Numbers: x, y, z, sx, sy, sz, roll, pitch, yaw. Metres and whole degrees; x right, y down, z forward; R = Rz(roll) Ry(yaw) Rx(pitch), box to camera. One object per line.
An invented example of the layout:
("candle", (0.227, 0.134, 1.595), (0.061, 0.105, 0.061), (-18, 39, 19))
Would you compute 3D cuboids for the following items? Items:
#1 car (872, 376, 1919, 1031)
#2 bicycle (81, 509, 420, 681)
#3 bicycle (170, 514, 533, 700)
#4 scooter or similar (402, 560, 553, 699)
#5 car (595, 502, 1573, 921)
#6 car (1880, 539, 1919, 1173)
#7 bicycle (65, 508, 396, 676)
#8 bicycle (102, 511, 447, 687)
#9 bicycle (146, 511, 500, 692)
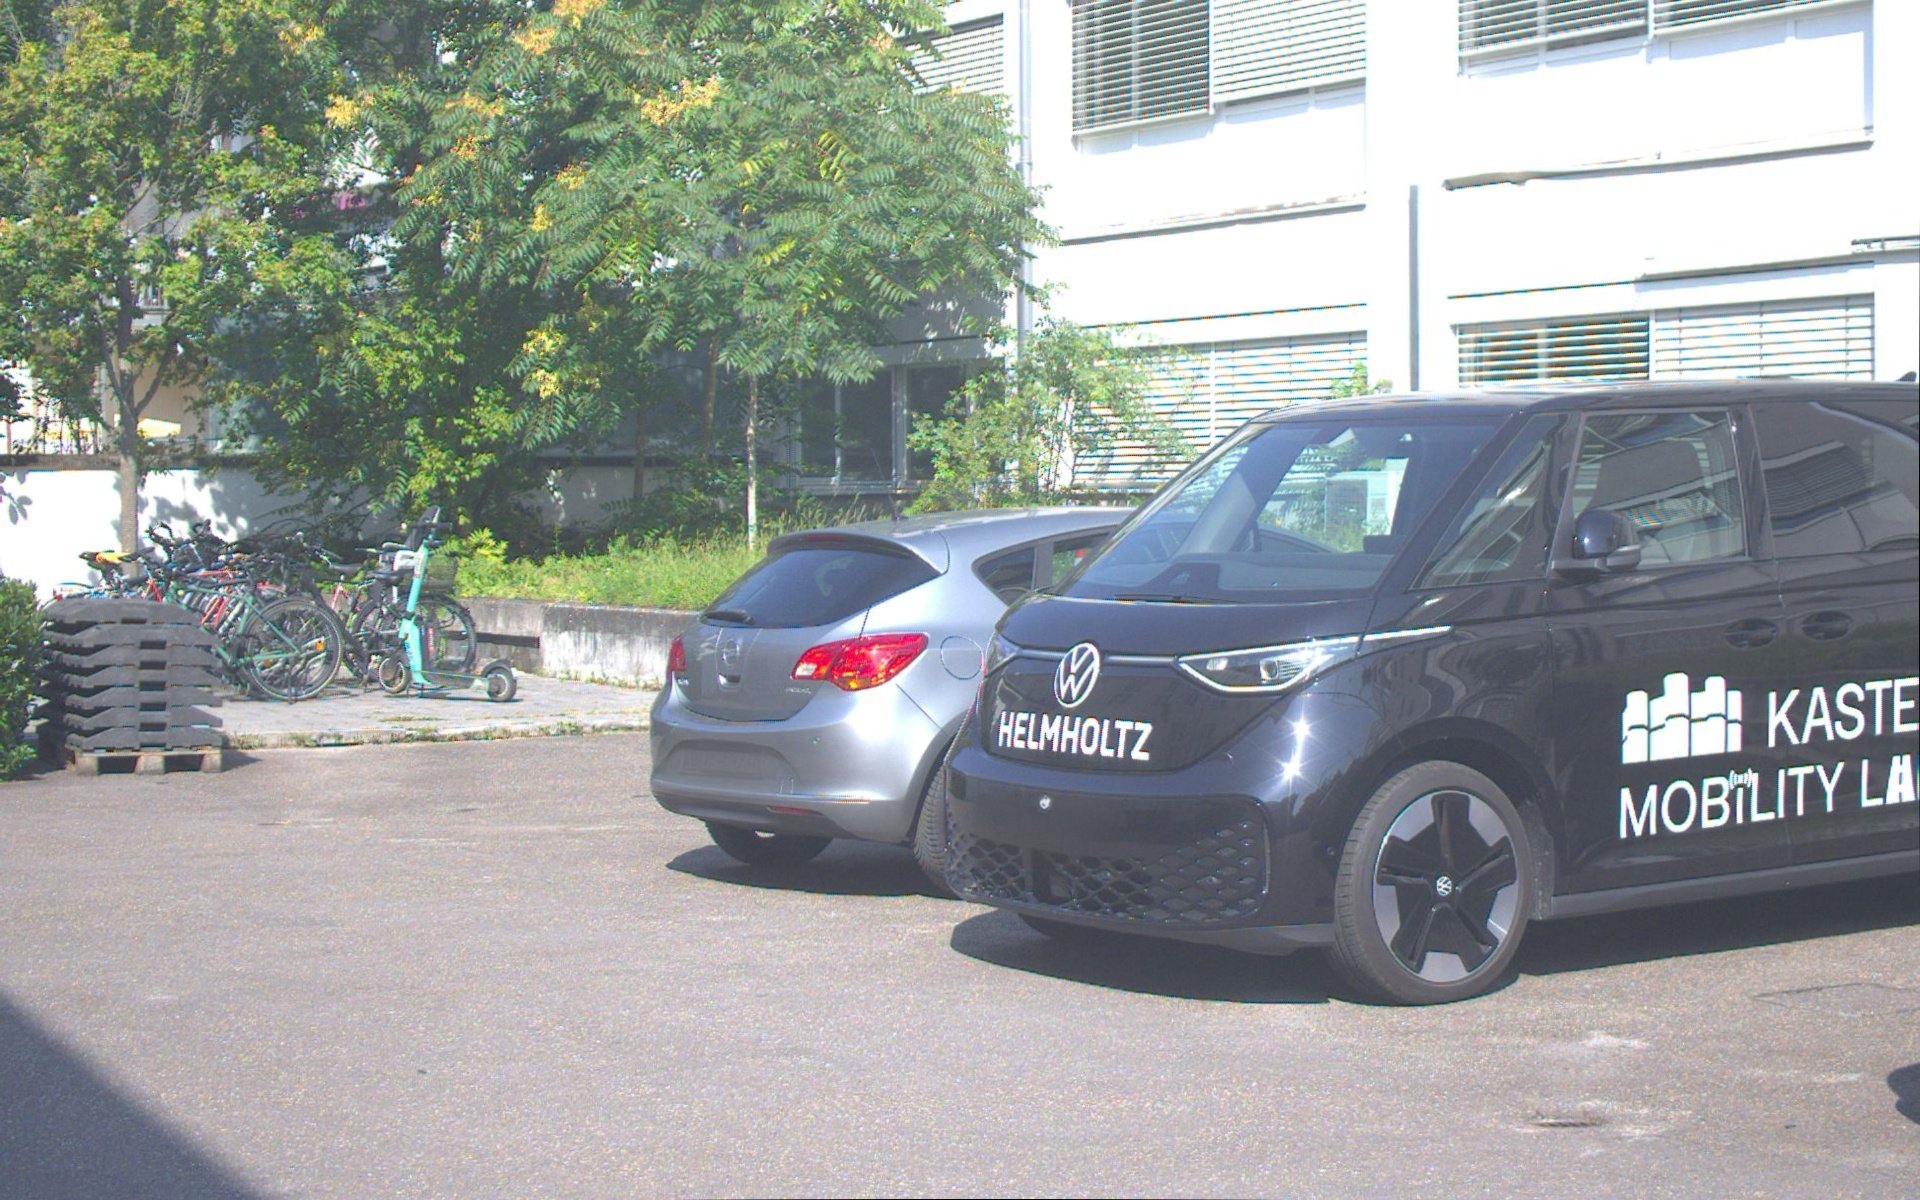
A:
("car", (2.044, 0.207, 11.719), (4.335, 1.852, 1.915), (-2, 3, -34))
("bicycle", (-5.286, -0.046, 25.675), (2.410, 1.242, 0.526), (0, 2, -25))
("bicycle", (-4.201, 0.042, 23.806), (2.410, 1.242, 0.526), (0, 2, -25))
("scooter or similar", (-3.335, 0.195, 23.746), (0.998, 0.921, 0.360), (1, 2, 27))
("car", (0.595, 0.350, 14.253), (3.897, 1.461, 1.662), (-2, 3, -38))
("car", (4.381, 0.561, 8.066), (4.232, 1.432, 1.691), (-1, 3, -27))
("bicycle", (-5.562, -0.068, 26.268), (2.410, 1.242, 0.526), (0, 2, -25))
("bicycle", (-4.998, -0.013, 25.120), (2.410, 1.242, 0.526), (0, 2, -25))
("bicycle", (-4.512, 0.000, 24.409), (2.410, 1.242, 0.526), (0, 2, -25))
